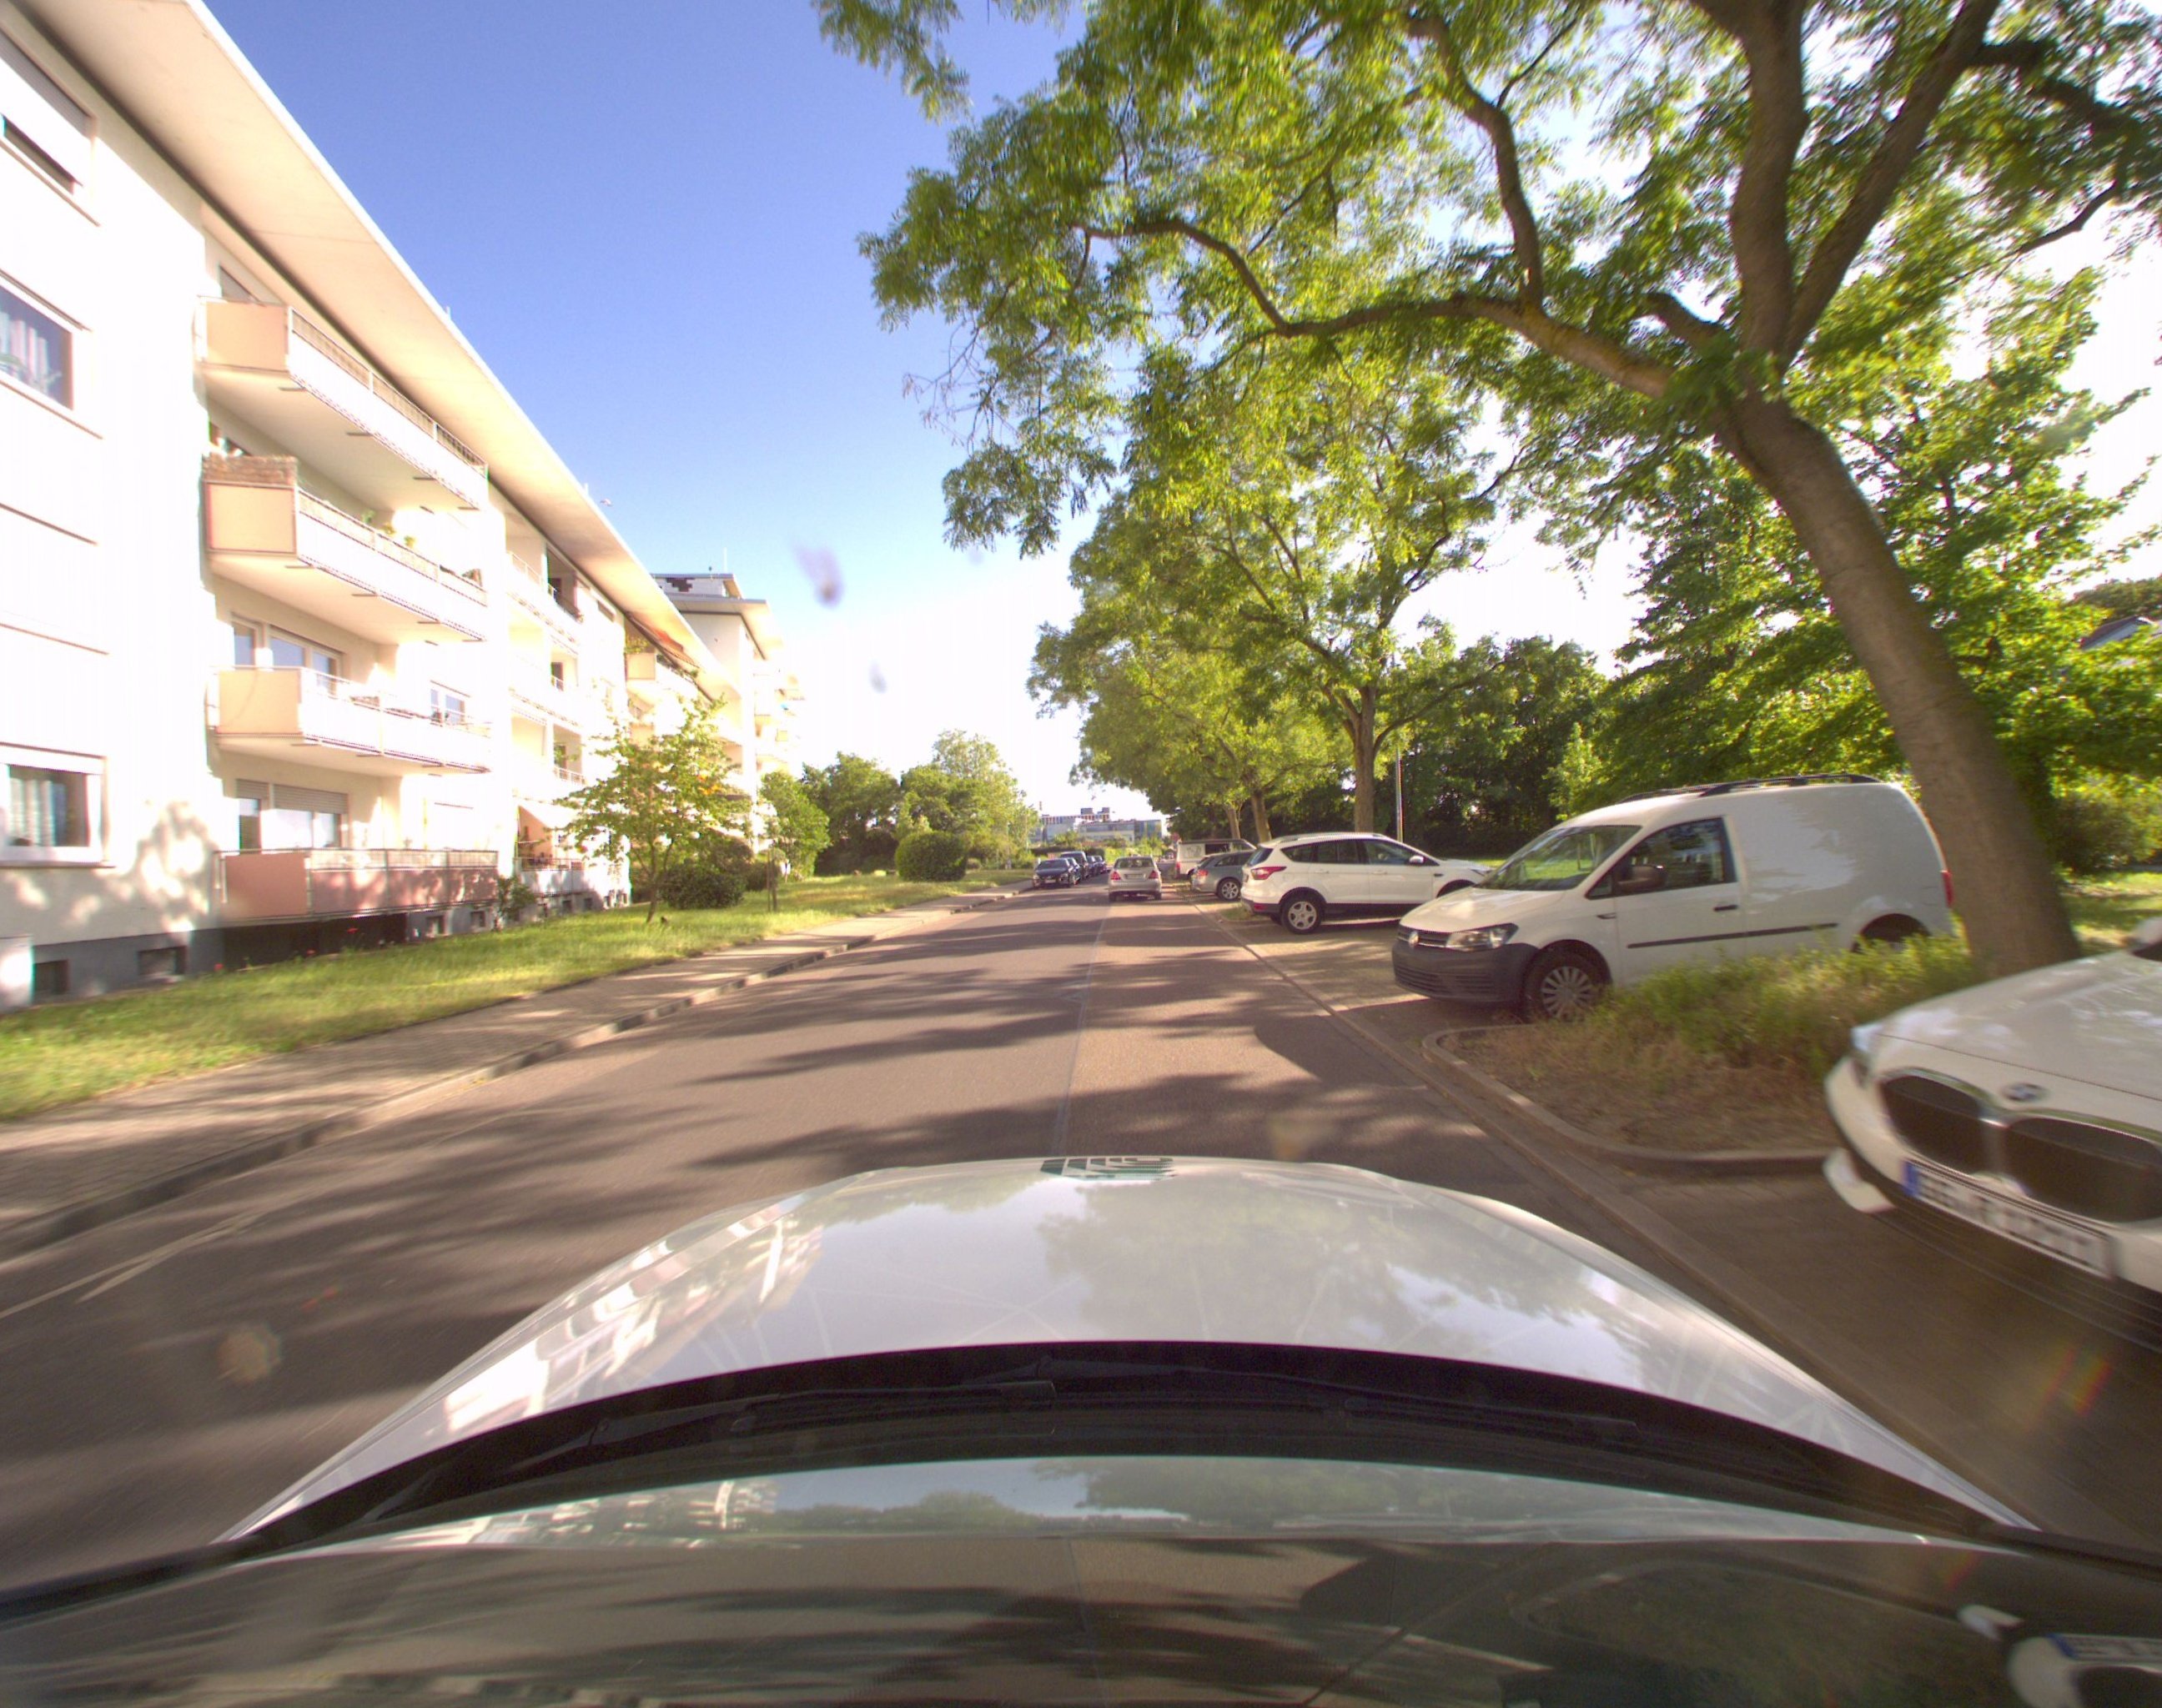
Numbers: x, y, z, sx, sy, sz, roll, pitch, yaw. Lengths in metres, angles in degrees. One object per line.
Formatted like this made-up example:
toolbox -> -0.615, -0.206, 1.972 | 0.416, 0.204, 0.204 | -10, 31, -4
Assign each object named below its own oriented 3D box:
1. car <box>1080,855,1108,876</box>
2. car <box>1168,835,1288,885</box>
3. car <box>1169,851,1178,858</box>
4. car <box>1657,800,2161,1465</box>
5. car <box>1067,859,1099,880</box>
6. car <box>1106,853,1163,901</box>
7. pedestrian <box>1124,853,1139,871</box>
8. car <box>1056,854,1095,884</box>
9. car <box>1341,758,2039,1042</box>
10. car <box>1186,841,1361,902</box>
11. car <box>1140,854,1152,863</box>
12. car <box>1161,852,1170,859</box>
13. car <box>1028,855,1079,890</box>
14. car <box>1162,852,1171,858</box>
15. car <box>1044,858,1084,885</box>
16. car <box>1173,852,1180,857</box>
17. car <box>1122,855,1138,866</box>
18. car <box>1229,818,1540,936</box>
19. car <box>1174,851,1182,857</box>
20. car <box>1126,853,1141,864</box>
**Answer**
car -> 1.105, 0.859, 65.047 | 1.741, 1.520, 4.201 | -3, 0, 7
car -> 6.649, 0.264, 37.305 | 5.193, 2.059, 2.003 | -2, 0, 4
car -> 23.194, 0.087, 204.040 | 1.883, 1.503, 3.665 | -2, 0, 8
car -> 4.692, 0.524, 2.471 | 4.430, 1.517, 2.000 | -4, 0, 0
car -> 0.197, 1.091, 58.512 | 1.740, 1.330, 3.458 | -5, 0, 8
car -> 1.759, 0.748, 26.782 | 1.726, 1.434, 3.441 | -1, -1, 3
pedestrian -> 6.142, 0.935, 99.371 | 1.564, 2.089, 1.729 | -2, 0, 11
car -> -0.289, 0.912, 51.950 | 1.740, 1.688, 4.274 | -3, 0, 9
car -> 5.129, 0.320, 7.305 | 4.876, 1.924, 1.997 | -3, 0, -5
car -> 5.807, 0.510, 24.989 | 4.869, 1.627, 1.999 | -2, 0, -1
car -> 11.262, 0.725, 140.745 | 1.883, 1.503, 3.665 | -2, 0, 8
car -> 18.784, 0.263, 180.559 | 1.883, 1.503, 3.665 | -2, 0, 8
car -> -1.298, 0.855, 39.905 | 1.904, 1.490, 3.843 | -5, 0, 5
car -> 19.650, 0.224, 186.480 | 1.883, 1.503, 3.665 | -2, 0, 8
car -> -0.911, 0.952, 45.890 | 1.742, 1.322, 3.747 | -5, 0, 5
car -> 25.893, 0.132, 221.023 | 1.883, 1.503, 3.665 | -2, 0, 8
car -> 6.944, 0.914, 114.977 | 1.883, 1.503, 3.665 | -2, 0, 8
car -> 5.296, 0.388, 14.782 | 4.864, 1.723, 2.002 | -3, 0, 3
car -> 27.515, -0.066, 231.065 | 1.883, 1.503, 3.665 | -2, 0, 8
car -> 7.997, 0.667, 123.221 | 1.883, 1.503, 3.665 | -2, 0, 8
